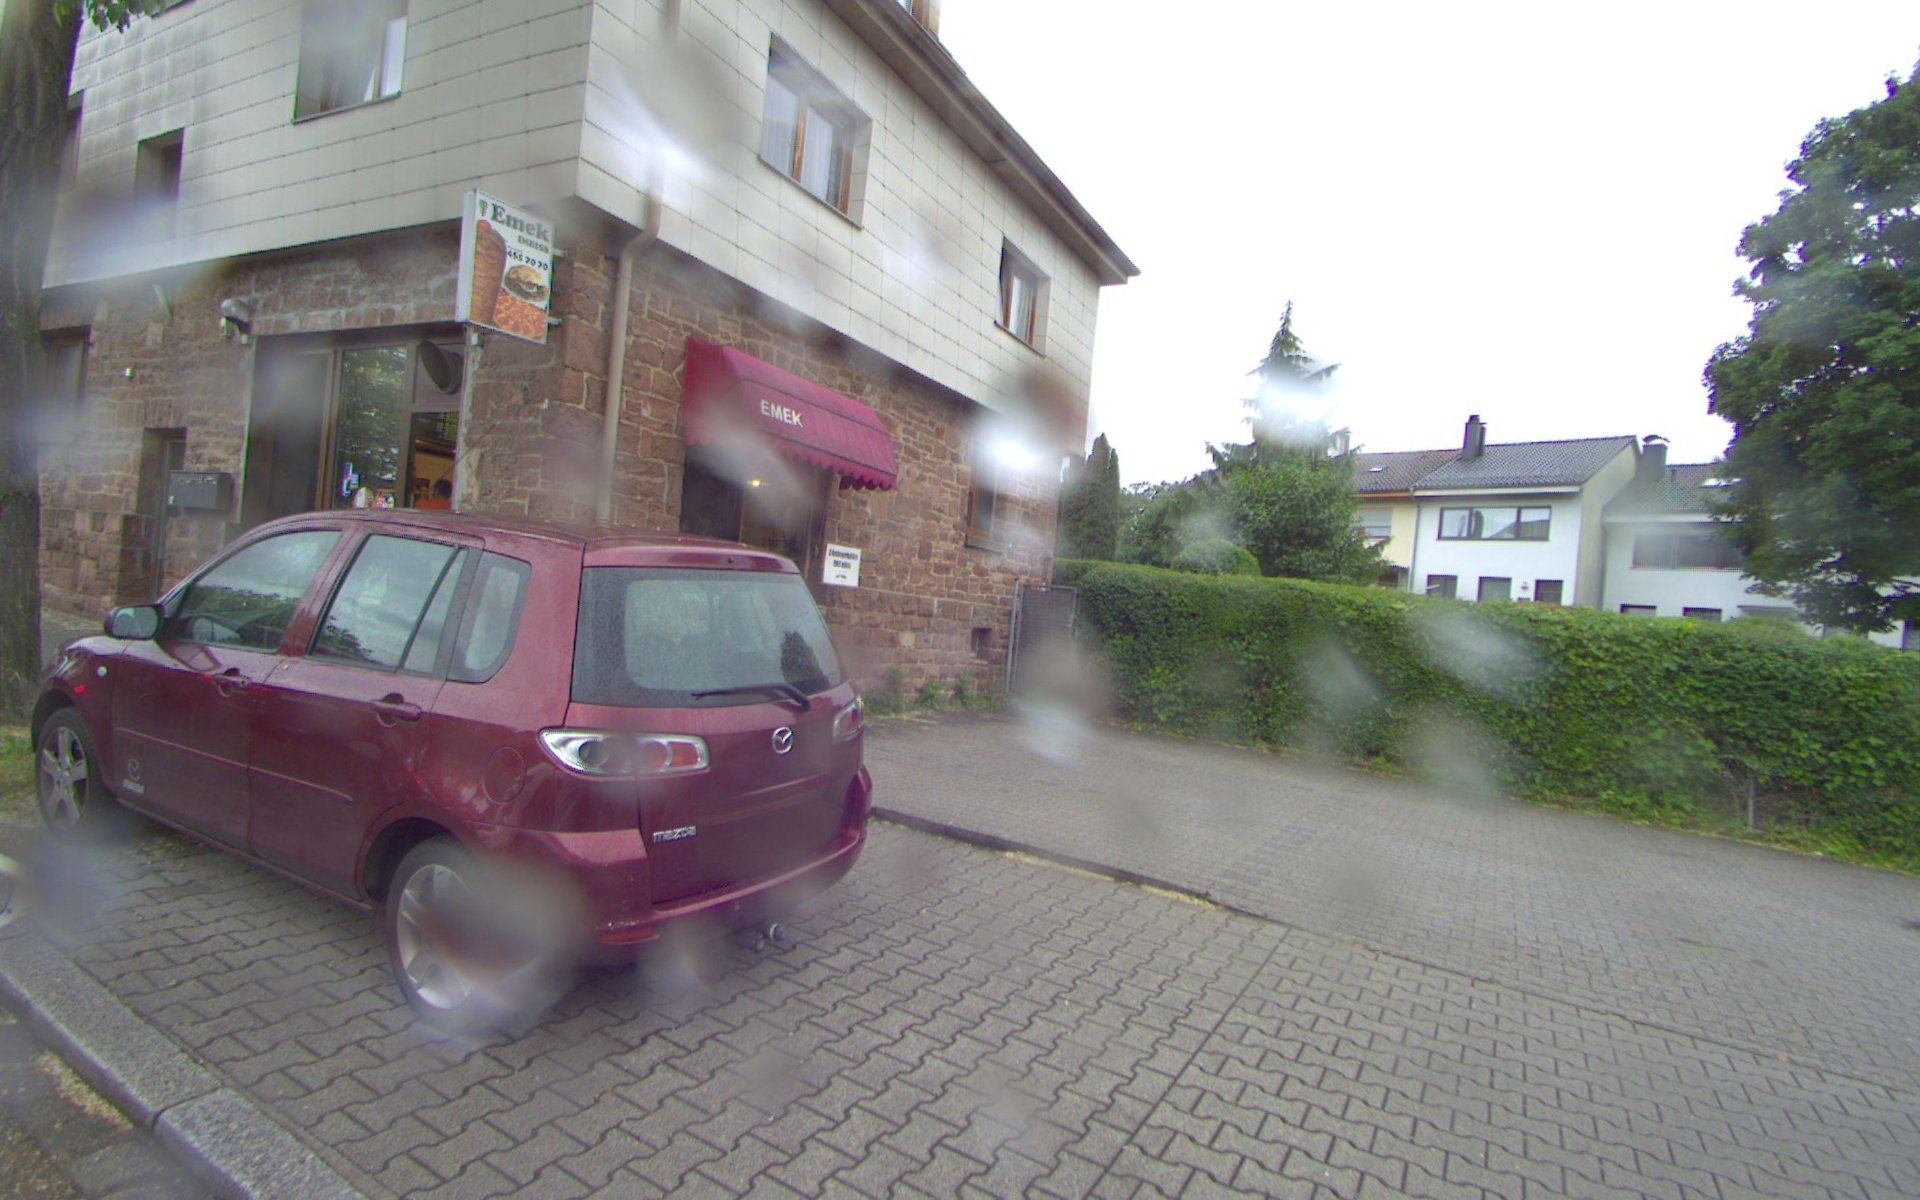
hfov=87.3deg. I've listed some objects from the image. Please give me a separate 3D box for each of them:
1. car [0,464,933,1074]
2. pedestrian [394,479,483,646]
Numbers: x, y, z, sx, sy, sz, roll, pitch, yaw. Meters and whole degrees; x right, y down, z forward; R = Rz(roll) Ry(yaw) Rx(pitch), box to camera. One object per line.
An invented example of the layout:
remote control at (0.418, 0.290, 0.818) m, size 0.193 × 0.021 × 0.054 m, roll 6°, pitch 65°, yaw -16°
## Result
car at (-2.168, 0.377, 4.129) m, size 3.692 × 1.521 × 1.614 m, roll 5°, pitch -3°, yaw 29°
pedestrian at (-5.521, -0.389, 10.664) m, size 0.447 × 1.679 × 0.493 m, roll 7°, pitch -1°, yaw 31°
